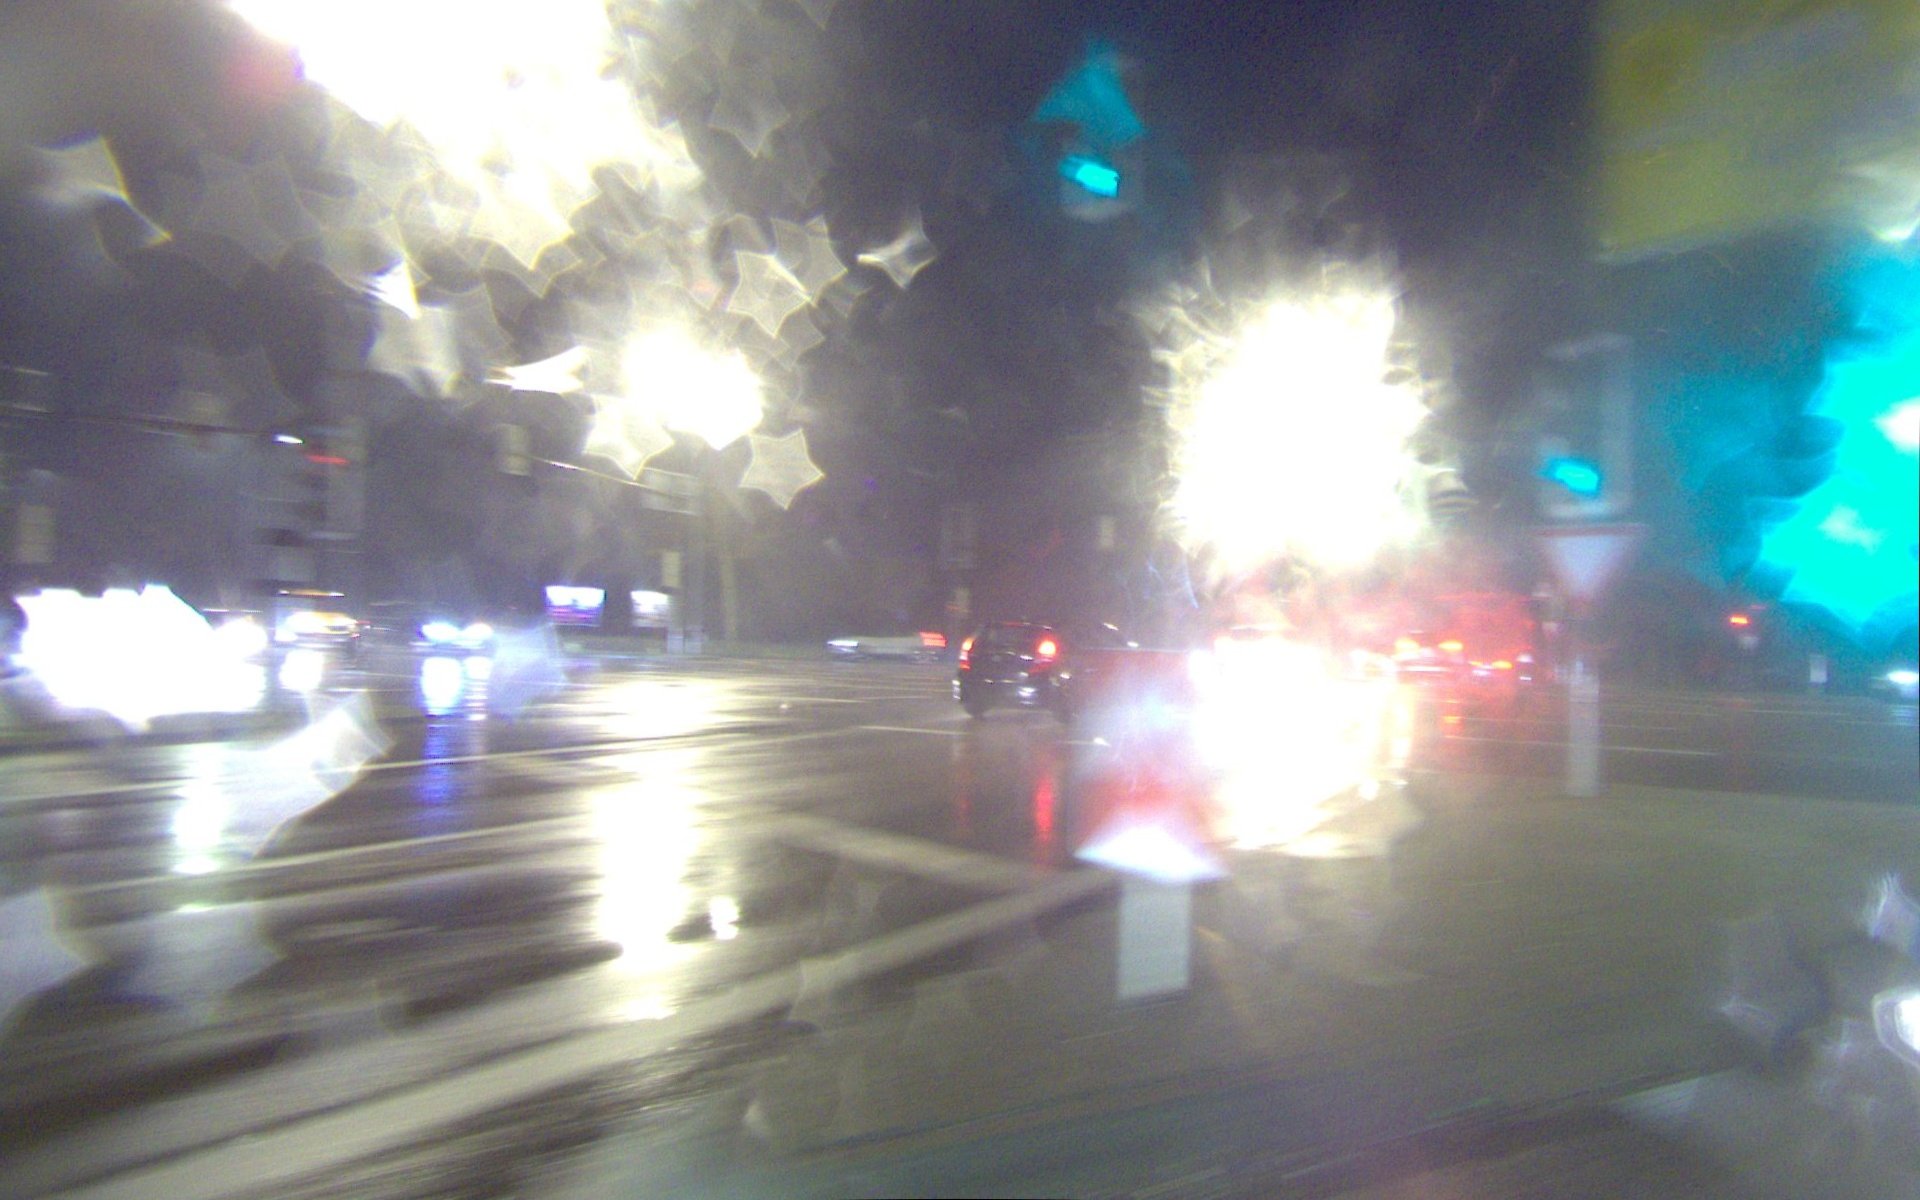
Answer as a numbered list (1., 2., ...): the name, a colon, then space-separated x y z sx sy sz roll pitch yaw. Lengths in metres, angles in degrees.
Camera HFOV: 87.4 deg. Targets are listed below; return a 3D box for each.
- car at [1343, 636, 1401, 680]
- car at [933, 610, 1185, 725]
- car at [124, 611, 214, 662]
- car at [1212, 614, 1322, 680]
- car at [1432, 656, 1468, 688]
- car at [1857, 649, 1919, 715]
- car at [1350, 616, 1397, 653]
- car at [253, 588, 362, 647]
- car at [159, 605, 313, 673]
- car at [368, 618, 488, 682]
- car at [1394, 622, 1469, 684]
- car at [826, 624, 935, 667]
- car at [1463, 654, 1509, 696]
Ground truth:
1. car: 17.165 2.391 41.772 1.880 1.680 3.982 1 -2 27
2. car: 1.617 0.924 15.166 1.808 1.426 4.103 2 0 39
3. car: -33.742 1.535 42.834 3.544 1.964 1.710 2 0 29
4. car: 7.970 1.140 25.854 1.711 1.455 4.281 3 1 31
5. car: 31.272 4.577 64.045 1.801 1.662 3.993 3 1 29
6. car: 23.970 1.993 23.031 4.715 1.446 1.763 2 -1 28
7. car: 25.183 2.093 61.136 1.752 2.106 3.987 3 0 35
8. car: -25.054 0.650 38.568 4.072 2.051 1.791 2 0 30
9. car: -20.551 1.056 28.479 4.182 1.654 1.955 2 0 30
10. car: -18.213 1.659 34.343 4.072 1.878 1.665 2 0 30
11. car: 13.894 1.519 29.503 1.822 1.612 4.019 2 -1 27
12. car: -3.203 1.830 40.266 3.974 1.494 1.828 2 1 -19
13. car: 25.569 3.609 48.907 1.800 1.675 4.474 3 1 27
